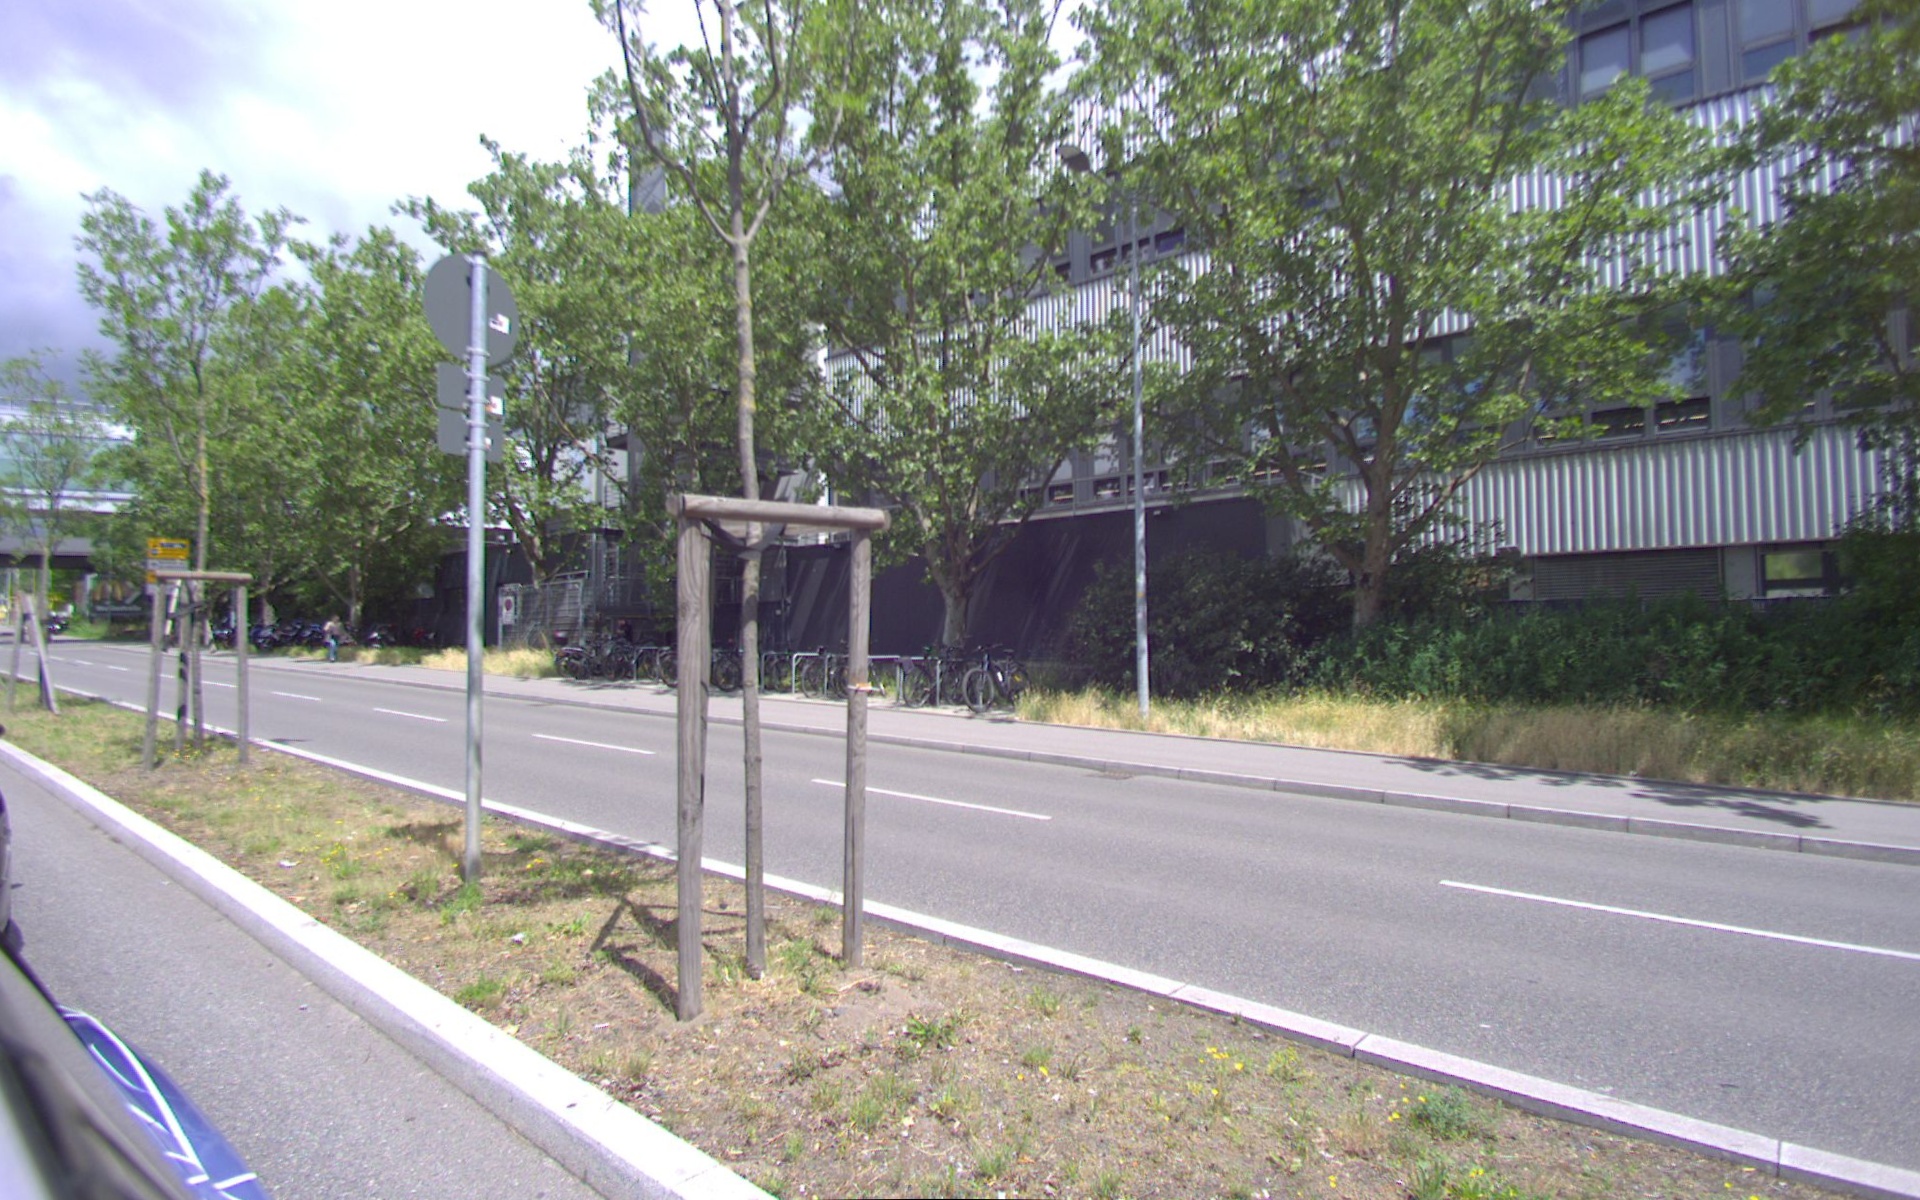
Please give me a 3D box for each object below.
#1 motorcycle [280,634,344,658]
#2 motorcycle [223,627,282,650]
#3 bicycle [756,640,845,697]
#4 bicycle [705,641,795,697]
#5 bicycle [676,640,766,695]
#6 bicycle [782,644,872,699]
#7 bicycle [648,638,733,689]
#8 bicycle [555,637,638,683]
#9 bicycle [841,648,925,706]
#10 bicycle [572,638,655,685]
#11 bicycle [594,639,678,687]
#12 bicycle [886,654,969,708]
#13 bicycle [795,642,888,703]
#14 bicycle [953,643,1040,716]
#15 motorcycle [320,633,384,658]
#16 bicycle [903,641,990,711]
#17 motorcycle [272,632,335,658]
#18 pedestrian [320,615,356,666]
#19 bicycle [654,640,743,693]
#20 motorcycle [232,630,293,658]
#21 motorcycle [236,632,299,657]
[{"bbox_3d":[-26.085,1.849,40.755,0.534,0.892,2.105,-2,-1,41],"label":"motorcycle"},{"bbox_3d":[-31.622,1.726,45.263,0.534,0.976,2.105,-2,-1,41],"label":"motorcycle"},{"bbox_3d":[-3.411,1.452,21.754,0.382,1.119,2.101,-2,-1,43],"label":"bicycle"},{"bbox_3d":[-4.542,1.475,22.020,0.382,1.119,2.101,-2,-1,43],"label":"bicycle"},{"bbox_3d":[-5.333,1.484,22.671,0.382,1.119,2.101,-2,-1,43],"label":"bicycle"},{"bbox_3d":[-2.743,1.475,21.140,0.382,1.038,2.101,-2,-1,43],"label":"bicycle"},{"bbox_3d":[-6.480,1.506,24.417,0.382,1.119,2.101,-2,-1,43],"label":"bicycle"},{"bbox_3d":[-9.545,1.546,26.635,0.382,1.119,2.101,-2,-1,43],"label":"bicycle"},{"bbox_3d":[-1.469,1.473,19.710,0.381,1.005,1.968,-2,-1,39],"label":"bicycle"},{"bbox_3d":[-8.904,1.566,26.090,0.382,1.119,2.101,-2,-1,43],"label":"bicycle"},{"bbox_3d":[-8.160,1.562,25.541,0.382,1.119,2.101,-2,-1,43],"label":"bicycle"},{"bbox_3d":[-0.597,1.517,19.224,0.381,0.897,1.968,-2,-1,39],"label":"bicycle"},{"bbox_3d":[-2.339,1.431,20.232,0.382,1.104,2.101,-2,-1,43],"label":"bicycle"},{"bbox_3d":[0.660,1.335,17.401,0.381,1.137,1.968,-2,-1,39],"label":"bicycle"},{"bbox_3d":[-23.952,1.794,39.877,0.534,0.905,2.105,-2,-1,41],"label":"motorcycle"},{"bbox_3d":[-0.219,1.332,18.123,0.381,1.137,1.968,-2,-1,39],"label":"bicycle"},{"bbox_3d":[-26.861,1.834,41.427,0.534,0.976,2.105,-2,-1,41],"label":"motorcycle"},{"bbox_3d":[-21.499,1.386,35.004,0.672,1.734,0.888,-1,-2,41],"label":"pedestrian"},{"bbox_3d":[-5.989,1.495,23.267,0.382,1.119,2.101,-2,-1,43],"label":"bicycle"},{"bbox_3d":[-29.791,1.867,43.258,0.534,1.146,2.105,-2,-1,41],"label":"motorcycle"},{"bbox_3d":[-28.880,1.856,42.252,0.534,0.976,2.105,-2,-1,41],"label":"motorcycle"}]
